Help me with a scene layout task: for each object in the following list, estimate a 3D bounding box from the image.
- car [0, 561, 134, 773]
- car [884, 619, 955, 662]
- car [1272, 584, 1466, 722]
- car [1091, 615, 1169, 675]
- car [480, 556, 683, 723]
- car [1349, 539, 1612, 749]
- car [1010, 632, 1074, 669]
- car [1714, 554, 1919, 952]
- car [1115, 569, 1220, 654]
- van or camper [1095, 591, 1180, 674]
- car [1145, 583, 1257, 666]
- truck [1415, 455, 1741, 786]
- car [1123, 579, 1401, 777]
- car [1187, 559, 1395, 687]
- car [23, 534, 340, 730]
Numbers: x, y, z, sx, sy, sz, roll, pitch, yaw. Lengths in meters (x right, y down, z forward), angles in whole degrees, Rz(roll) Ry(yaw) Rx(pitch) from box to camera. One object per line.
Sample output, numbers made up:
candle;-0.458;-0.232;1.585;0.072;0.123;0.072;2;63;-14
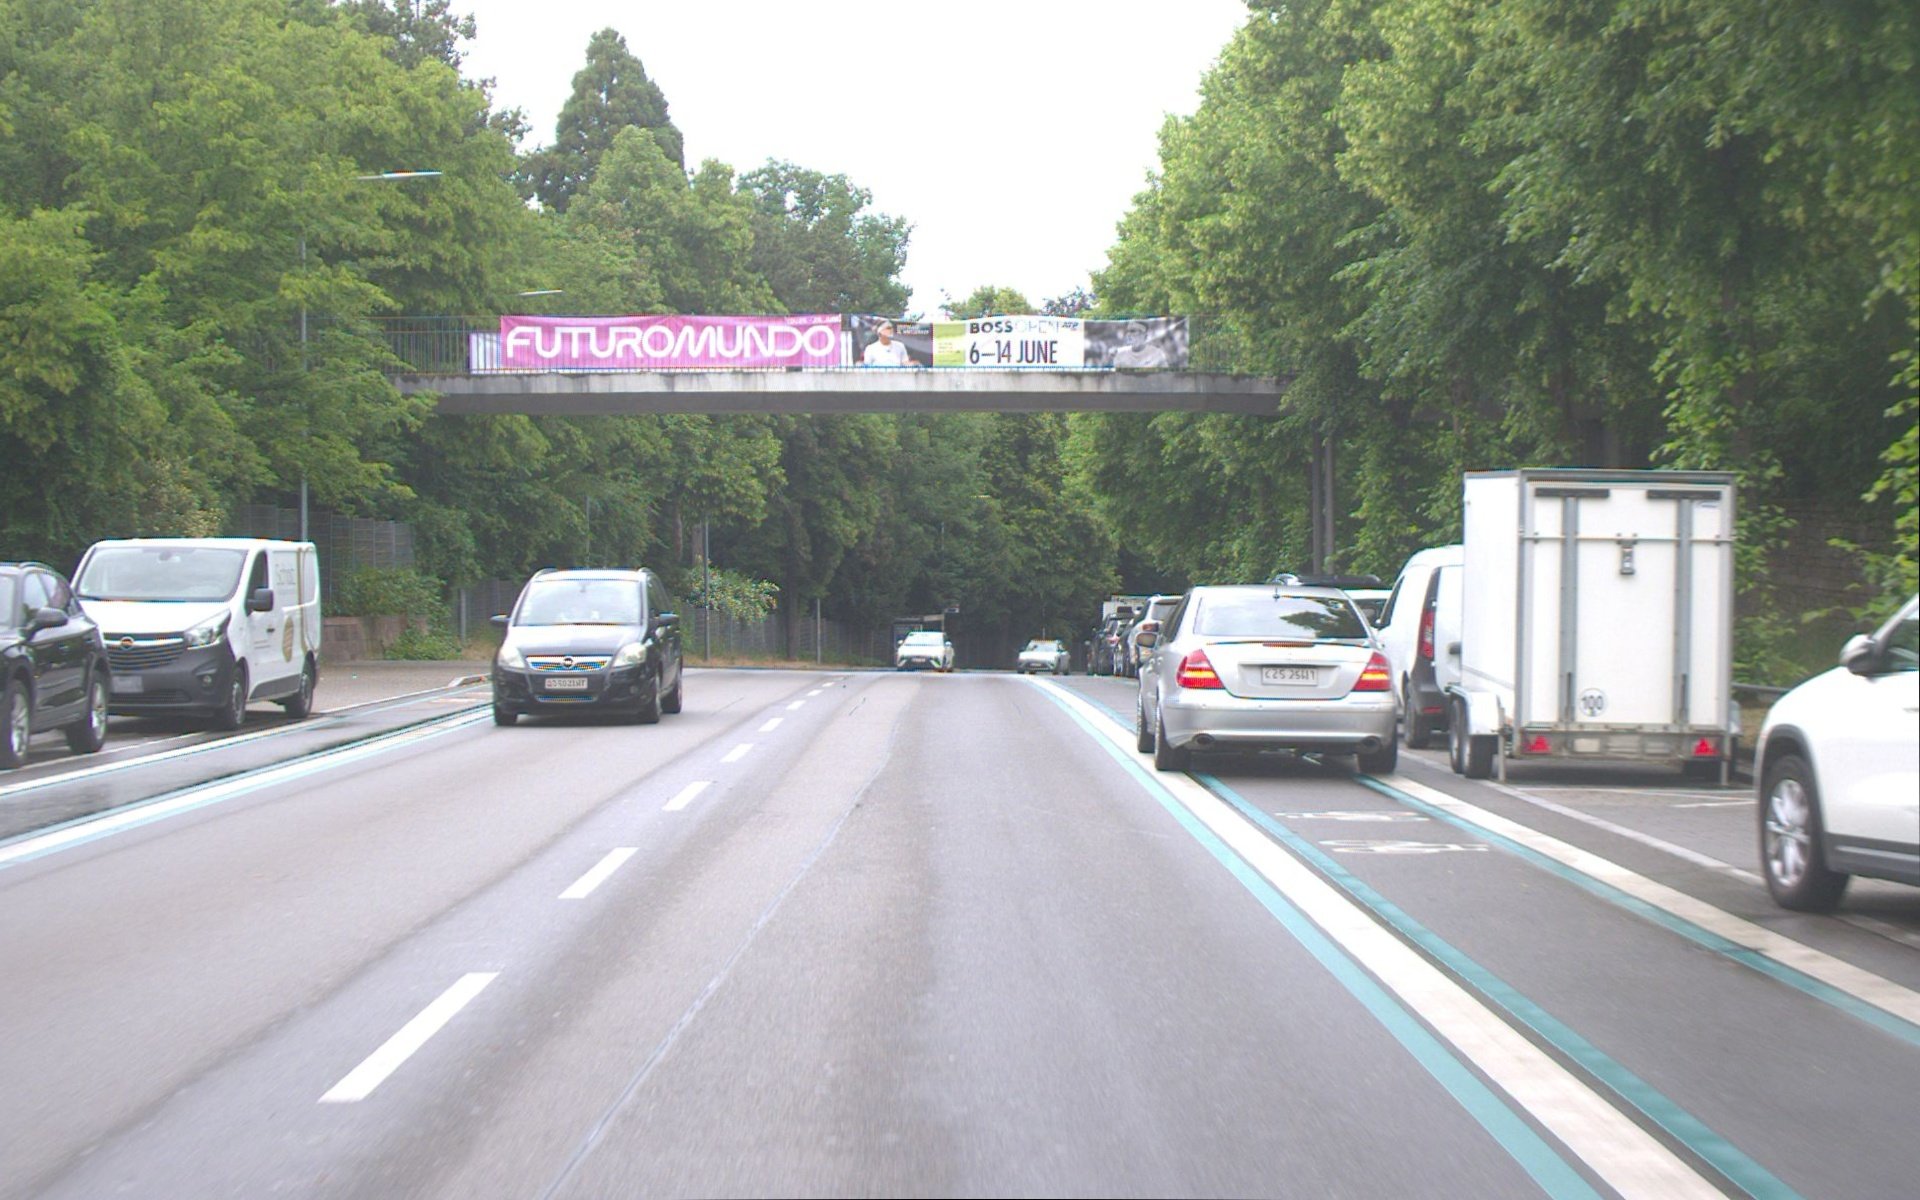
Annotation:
car;-8.331;0.501;28.619;1.824;1.610;4.663;-1;1;-1
car;-1.453;1.479;125.877;1.972;1.547;3.868;1;0;9
car;4.547;0.552;38.780;1.660;1.421;4.618;1;1;0
car;4.130;1.113;83.913;1.775;1.344;4.465;1;-2;2
car;-3.979;0.370;36.717;1.710;1.612;4.150;-2;1;-1
car;4.740;0.360;31.838;1.722;1.784;4.345;1;0;0
car;3.691;2.261;153.985;1.798;1.571;4.098;0;-1;18
car;4.660;0.614;14.009;1.755;1.579;4.415;1;1;-6
car;4.104;0.250;68.524;1.713;1.613;4.261;1;-1;-1
van or camper;5.992;1.112;115.403;2.317;2.656;6.379;1;-1;7
car;4.374;0.473;62.937;1.672;1.389;4.450;1;-2;-1
truck;4.640;0.125;26.348;1.719;2.325;4.000;1;0;0
car;2.299;0.553;27.219;1.721;1.393;4.591;1;1;-1
car;4.230;0.259;44.650;1.993;1.555;4.643;1;1;-3
car;-8.097;0.271;36.265;1.979;1.908;5.227;0;1;2
